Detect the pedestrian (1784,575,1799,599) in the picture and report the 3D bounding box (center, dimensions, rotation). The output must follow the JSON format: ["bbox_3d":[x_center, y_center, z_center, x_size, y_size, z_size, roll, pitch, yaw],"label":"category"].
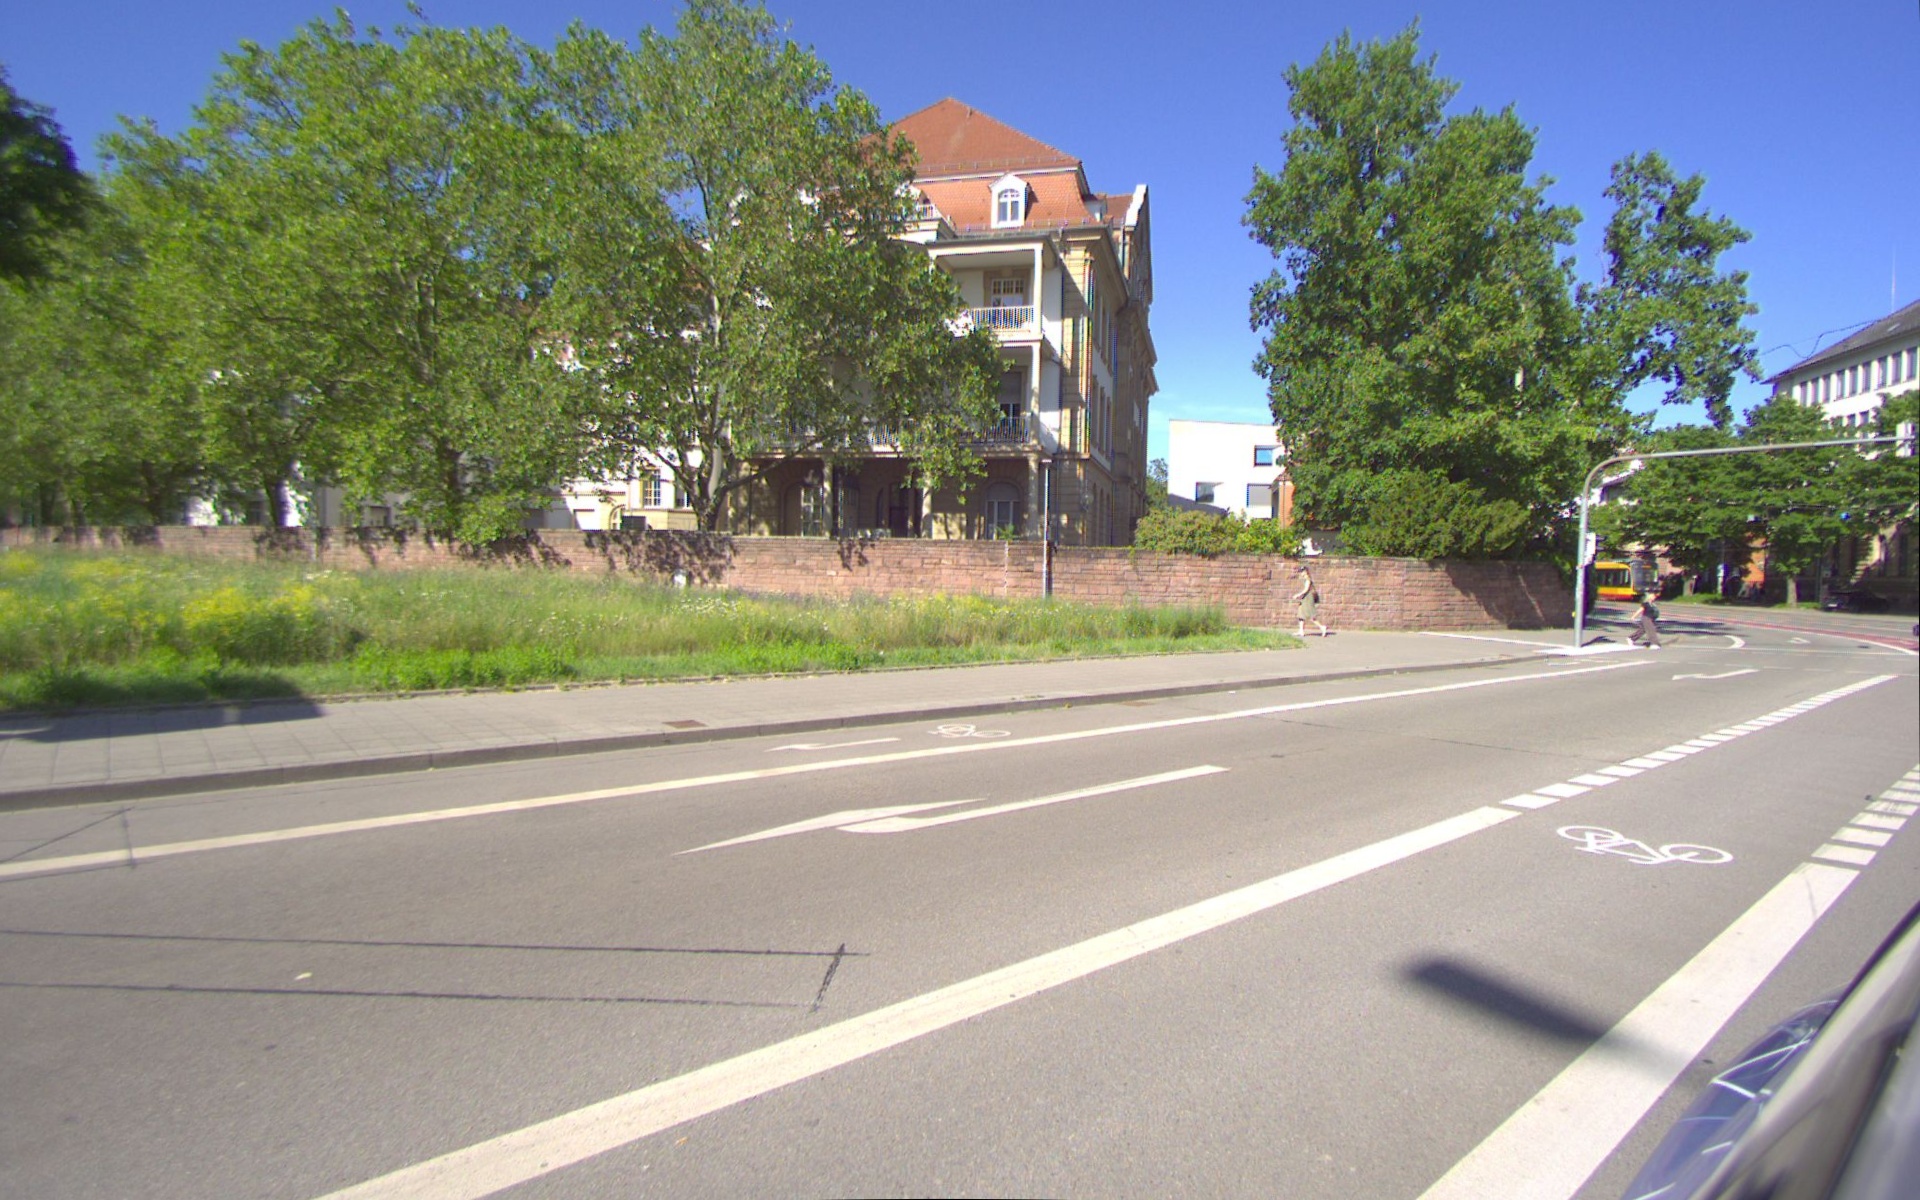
[{"bbox_3d":[69.338,-1.073,84.405,0.568,1.927,0.849,1,1,12],"label":"pedestrian"}]

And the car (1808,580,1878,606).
[{"bbox_3d":[60.243,-0.523,69.141,1.806,1.615,3.988,2,2,11],"label":"car"}]

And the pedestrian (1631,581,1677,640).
[{"bbox_3d":[20.297,0.293,29.602,0.619,1.687,0.932,0,2,-36],"label":"pedestrian"}]

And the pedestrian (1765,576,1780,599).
[{"bbox_3d":[68.489,-1.078,85.326,0.568,1.927,0.849,1,1,12],"label":"pedestrian"}]

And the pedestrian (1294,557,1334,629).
[{"bbox_3d":[9.450,-0.203,27.016,0.772,1.881,0.631,1,1,-4],"label":"pedestrian"}]

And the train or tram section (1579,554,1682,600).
[{"bbox_3d":[56.811,-1.991,86.284,2.899,3.563,13.780,2,2,14],"label":"train or tram section"}]

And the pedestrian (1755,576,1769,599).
[{"bbox_3d":[67.692,-1.073,85.400,0.568,1.927,0.781,1,1,12],"label":"pedestrian"}]
